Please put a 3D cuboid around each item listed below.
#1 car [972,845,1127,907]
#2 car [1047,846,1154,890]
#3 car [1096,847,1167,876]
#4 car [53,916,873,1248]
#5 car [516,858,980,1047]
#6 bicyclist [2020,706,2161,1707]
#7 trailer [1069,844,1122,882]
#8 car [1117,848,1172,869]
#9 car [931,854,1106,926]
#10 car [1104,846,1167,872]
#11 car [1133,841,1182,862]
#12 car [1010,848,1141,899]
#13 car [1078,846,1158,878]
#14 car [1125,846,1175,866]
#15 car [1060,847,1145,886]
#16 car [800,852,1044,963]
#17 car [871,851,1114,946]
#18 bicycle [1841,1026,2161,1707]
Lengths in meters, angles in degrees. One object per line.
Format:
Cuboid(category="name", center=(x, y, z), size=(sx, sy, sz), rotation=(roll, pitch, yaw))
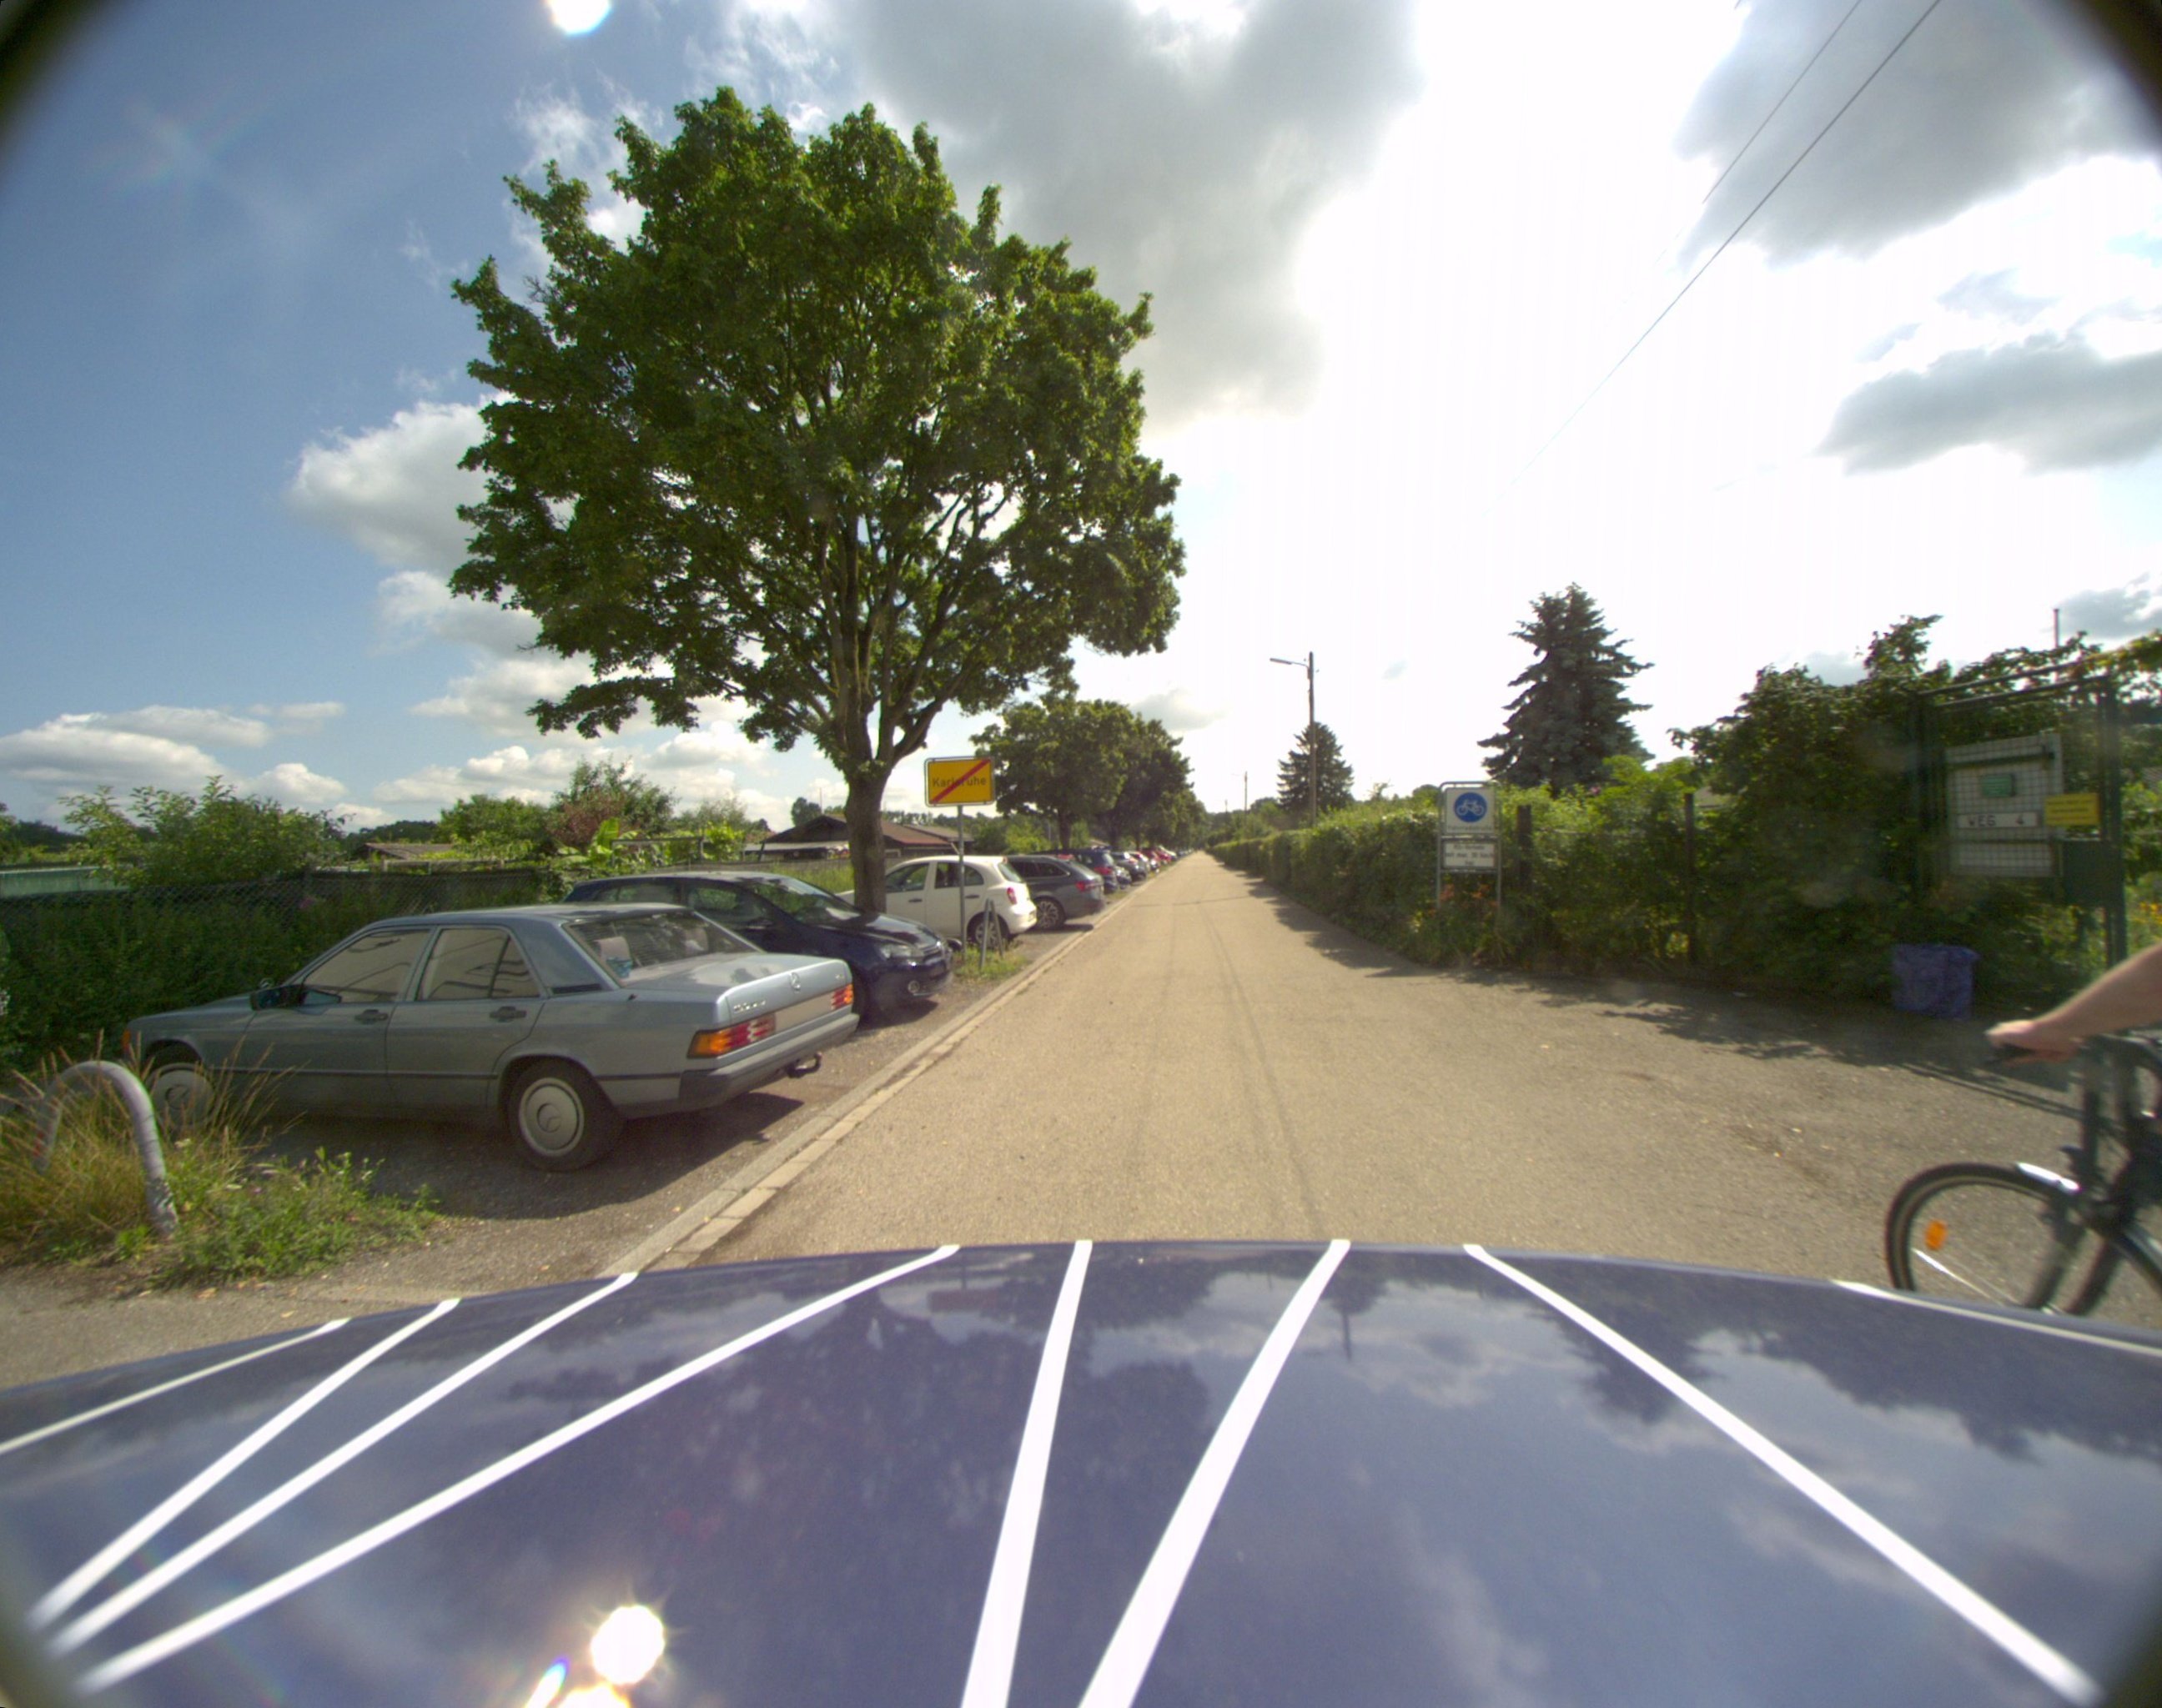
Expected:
Cuboid(category="car", center=(-0.872, 0.632, 22.267), size=(4.162, 1.628, 1.880), rotation=(-2, 1, 10))
Cuboid(category="car", center=(0.885, 0.586, 32.720), size=(4.310, 1.585, 2.001), rotation=(-3, 1, 9))
Cuboid(category="car", center=(3.057, 0.417, 45.772), size=(4.073, 1.447, 1.870), rotation=(-3, 1, 7))
Cuboid(category="car", center=(-3.780, 1.188, 4.886), size=(4.365, 1.384, 1.719), rotation=(-1, 1, 13))
Cuboid(category="car", center=(-3.275, 0.947, 7.944), size=(3.941, 1.550, 1.868), rotation=(-3, 1, 8))
Cuboid(category="bicyclist", center=(1.951, 0.693, 0.811), size=(0.660, 1.842, 1.043), rotation=(-1, 1, 11))
Cuboid(category="trailer", center=(0.756, 0.439, 38.338), size=(2.455, 1.710, 1.519), rotation=(-3, 0, 5))
Cuboid(category="car", center=(5.014, 0.344, 60.001), size=(4.247, 1.420, 1.909), rotation=(-3, 1, 5))
Cuboid(category="car", center=(-1.427, 0.832, 18.157), size=(3.816, 1.523, 1.763), rotation=(-2, 1, 9))
Cuboid(category="car", center=(3.784, 0.349, 52.444), size=(3.993, 1.511, 1.856), rotation=(-3, 1, 13))
Cuboid(category="car", center=(7.545, -0.262, 74.654), size=(4.643, 1.875, 2.112), rotation=(-1, 1, 7))
Cuboid(category="car", center=(-0.146, 0.678, 27.308), size=(4.343, 1.483, 1.976), rotation=(-3, 1, 9))
Cuboid(category="car", center=(2.091, 0.446, 42.412), size=(4.071, 1.503, 1.959), rotation=(-3, 1, 12))
Cuboid(category="car", center=(6.133, 0.163, 67.138), size=(4.191, 1.495, 1.879), rotation=(-3, 1, 10))
Cuboid(category="car", center=(1.048, 0.565, 35.374), size=(3.731, 1.531, 1.850), rotation=(-3, 1, 6))
Cuboid(category="car", center=(-2.569, 0.859, 12.787), size=(3.581, 1.540, 1.667), rotation=(-3, 1, 6))
Cuboid(category="car", center=(-1.691, 0.862, 15.538), size=(4.558, 1.569, 1.809), rotation=(-3, 1, 6))
Cuboid(category="bicycle", center=(2.036, 1.026, 1.010), size=(0.518, 1.143, 1.828), rotation=(-1, 1, 12))
